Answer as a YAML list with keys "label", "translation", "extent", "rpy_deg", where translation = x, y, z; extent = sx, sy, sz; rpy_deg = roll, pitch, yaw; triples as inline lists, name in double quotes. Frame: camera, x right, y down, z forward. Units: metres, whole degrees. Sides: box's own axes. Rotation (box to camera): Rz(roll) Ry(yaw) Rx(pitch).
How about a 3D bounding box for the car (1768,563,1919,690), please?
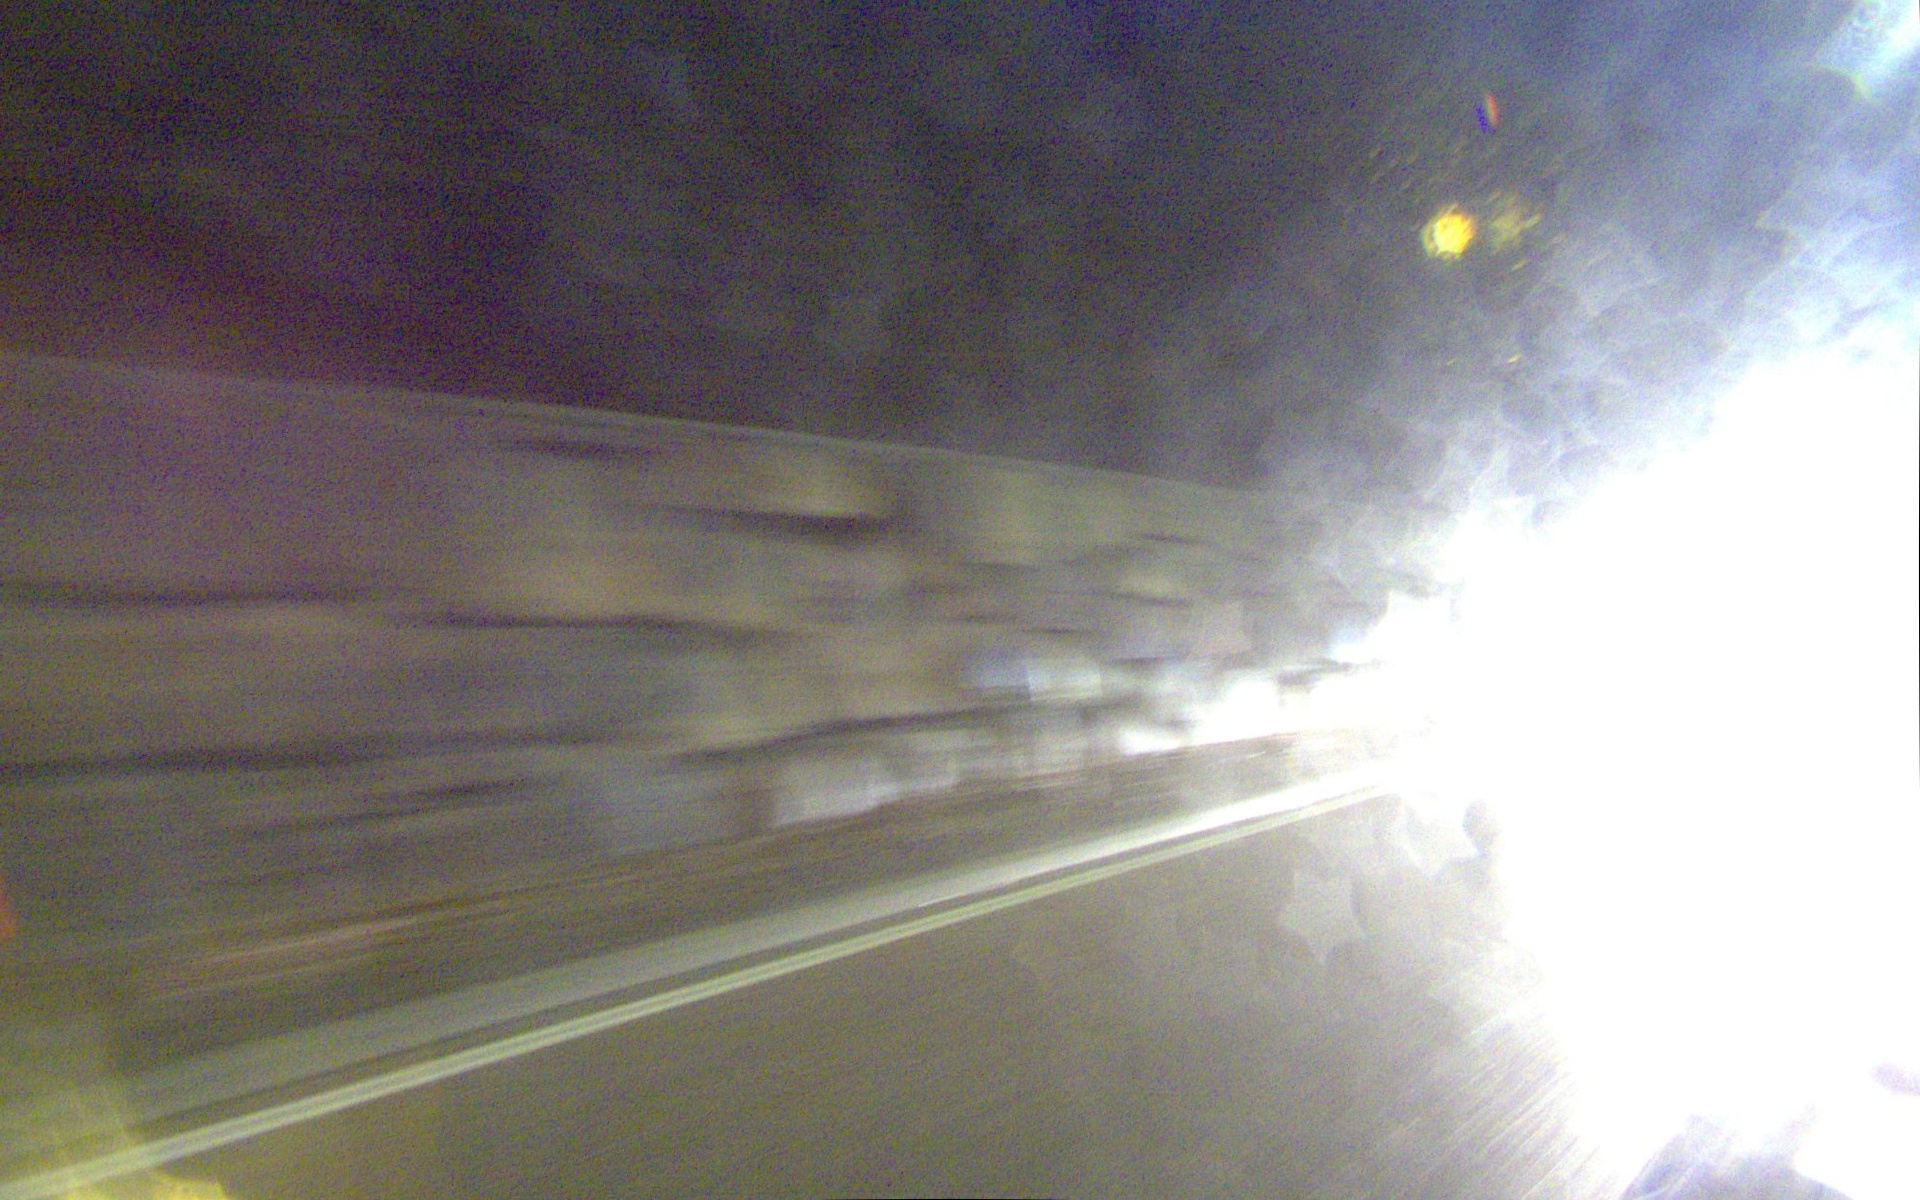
- label: "car"
  translation: [13.641, 0.311, 14.918]
  extent: [4.804, 1.608, 1.876]
  rpy_deg: [-1, 0, -41]
